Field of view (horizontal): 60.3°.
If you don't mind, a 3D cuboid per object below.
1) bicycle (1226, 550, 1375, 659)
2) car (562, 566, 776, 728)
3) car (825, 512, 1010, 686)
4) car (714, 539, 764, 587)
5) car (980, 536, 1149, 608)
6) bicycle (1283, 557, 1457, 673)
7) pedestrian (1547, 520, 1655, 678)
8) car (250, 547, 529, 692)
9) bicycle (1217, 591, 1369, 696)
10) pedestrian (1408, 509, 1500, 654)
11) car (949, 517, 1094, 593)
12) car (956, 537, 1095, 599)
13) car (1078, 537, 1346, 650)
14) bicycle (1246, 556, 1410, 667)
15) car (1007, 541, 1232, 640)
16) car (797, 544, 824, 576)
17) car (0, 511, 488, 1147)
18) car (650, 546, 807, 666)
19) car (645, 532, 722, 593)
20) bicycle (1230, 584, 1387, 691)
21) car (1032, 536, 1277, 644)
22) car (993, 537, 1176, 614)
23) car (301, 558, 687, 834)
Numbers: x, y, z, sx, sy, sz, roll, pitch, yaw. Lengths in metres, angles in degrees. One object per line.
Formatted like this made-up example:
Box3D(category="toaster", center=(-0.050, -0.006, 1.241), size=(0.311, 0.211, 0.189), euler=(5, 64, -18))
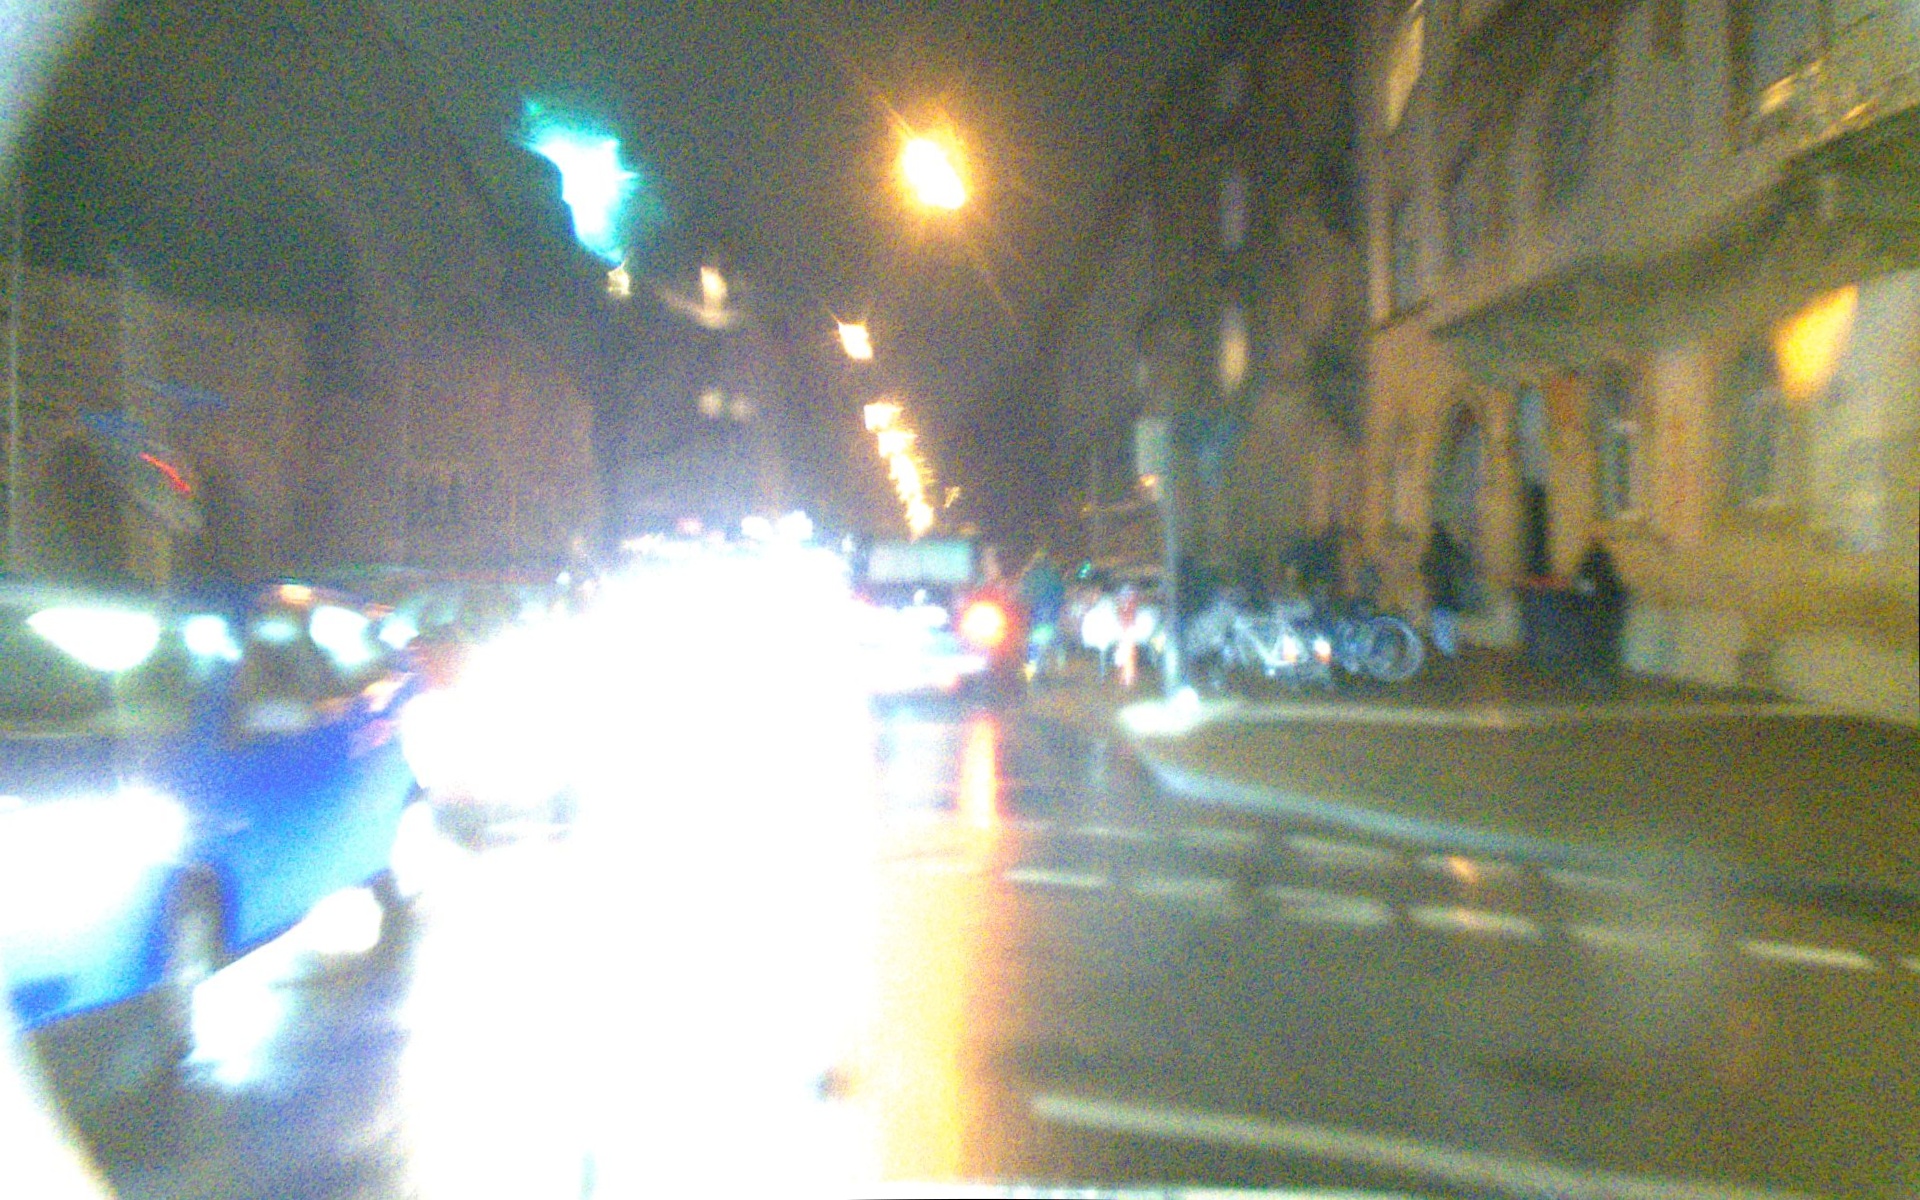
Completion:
Box3D(category="bicycle", center=(4.656, 0.056, 22.647), size=(1.860, 1.383, 0.595), euler=(-3, 1, -6))
Box3D(category="car", center=(-2.936, 0.398, 17.459), size=(1.635, 1.445, 4.096), euler=(-1, 2, -2))
Box3D(category="car", center=(-0.533, -0.085, 21.505), size=(2.124, 2.006, 4.302), euler=(-1, 2, -1))
Box3D(category="car", center=(-9.638, -1.633, 71.975), size=(1.696, 2.006, 3.713), euler=(-1, 2, -15))
Box3D(category="car", center=(2.781, -0.771, 43.934), size=(4.114, 1.673, 1.759), euler=(-3, 3, -22))
Box3D(category="bicycle", center=(4.888, 0.163, 19.759), size=(1.860, 1.273, 0.710), euler=(-3, 1, -6))
Box3D(category="pedestrian", center=(6.865, -0.029, 17.749), size=(0.765, 1.646, 1.000), euler=(-1, 2, -1))
Box3D(category="car", center=(-6.545, 0.145, 19.475), size=(1.726, 1.512, 4.062), euler=(0, 2, 2))
Box3D(category="bicycle", center=(4.442, 0.570, 22.075), size=(1.860, 1.273, 0.595), euler=(-3, 1, -6))
Box3D(category="pedestrian", center=(6.721, -0.269, 22.537), size=(0.938, 1.914, 1.000), euler=(-1, 2, -1))
Box3D(category="car", center=(2.206, -1.620, 58.626), size=(4.963, 2.432, 2.109), euler=(-4, 3, -39))
Box3D(category="car", center=(2.025, -1.007, 50.702), size=(4.146, 1.673, 1.745), euler=(-4, 3, -39))
Box3D(category="car", center=(3.978, -0.151, 25.797), size=(4.146, 1.482, 1.831), euler=(-4, 3, -39))
Box3D(category="bicycle", center=(4.576, 0.133, 20.619), size=(1.860, 1.273, 0.595), euler=(-3, 1, -6))
Box3D(category="car", center=(3.060, -0.229, 31.390), size=(4.138, 1.617, 1.710), euler=(-4, 3, -35))
Box3D(category="car", center=(-9.720, -2.640, 107.895), size=(1.690, 2.006, 4.218), euler=(0, 2, -5))
Box3D(category="car", center=(-3.098, 0.509, 6.033), size=(1.672, 1.569, 3.988), euler=(-1, 2, -2))
Box3D(category="car", center=(-3.301, -0.003, 24.425), size=(1.751, 1.581, 4.854), euler=(-1, 2, -2))
Box3D(category="car", center=(-9.548, -1.307, 56.873), size=(1.960, 2.006, 4.280), euler=(-1, 2, -18))
Box3D(category="bicycle", center=(4.512, 0.469, 21.432), size=(1.860, 1.273, 0.595), euler=(-3, 1, -6))
Box3D(category="car", center=(3.417, -0.226, 28.614), size=(4.146, 1.604, 1.856), euler=(-4, 3, -39))
Box3D(category="car", center=(3.065, -0.627, 40.620), size=(4.114, 1.673, 1.759), euler=(-3, 3, -22))
Box3D(category="car", center=(-3.075, 0.516, 11.763), size=(1.634, 1.589, 4.008), euler=(0, 2, -1))
